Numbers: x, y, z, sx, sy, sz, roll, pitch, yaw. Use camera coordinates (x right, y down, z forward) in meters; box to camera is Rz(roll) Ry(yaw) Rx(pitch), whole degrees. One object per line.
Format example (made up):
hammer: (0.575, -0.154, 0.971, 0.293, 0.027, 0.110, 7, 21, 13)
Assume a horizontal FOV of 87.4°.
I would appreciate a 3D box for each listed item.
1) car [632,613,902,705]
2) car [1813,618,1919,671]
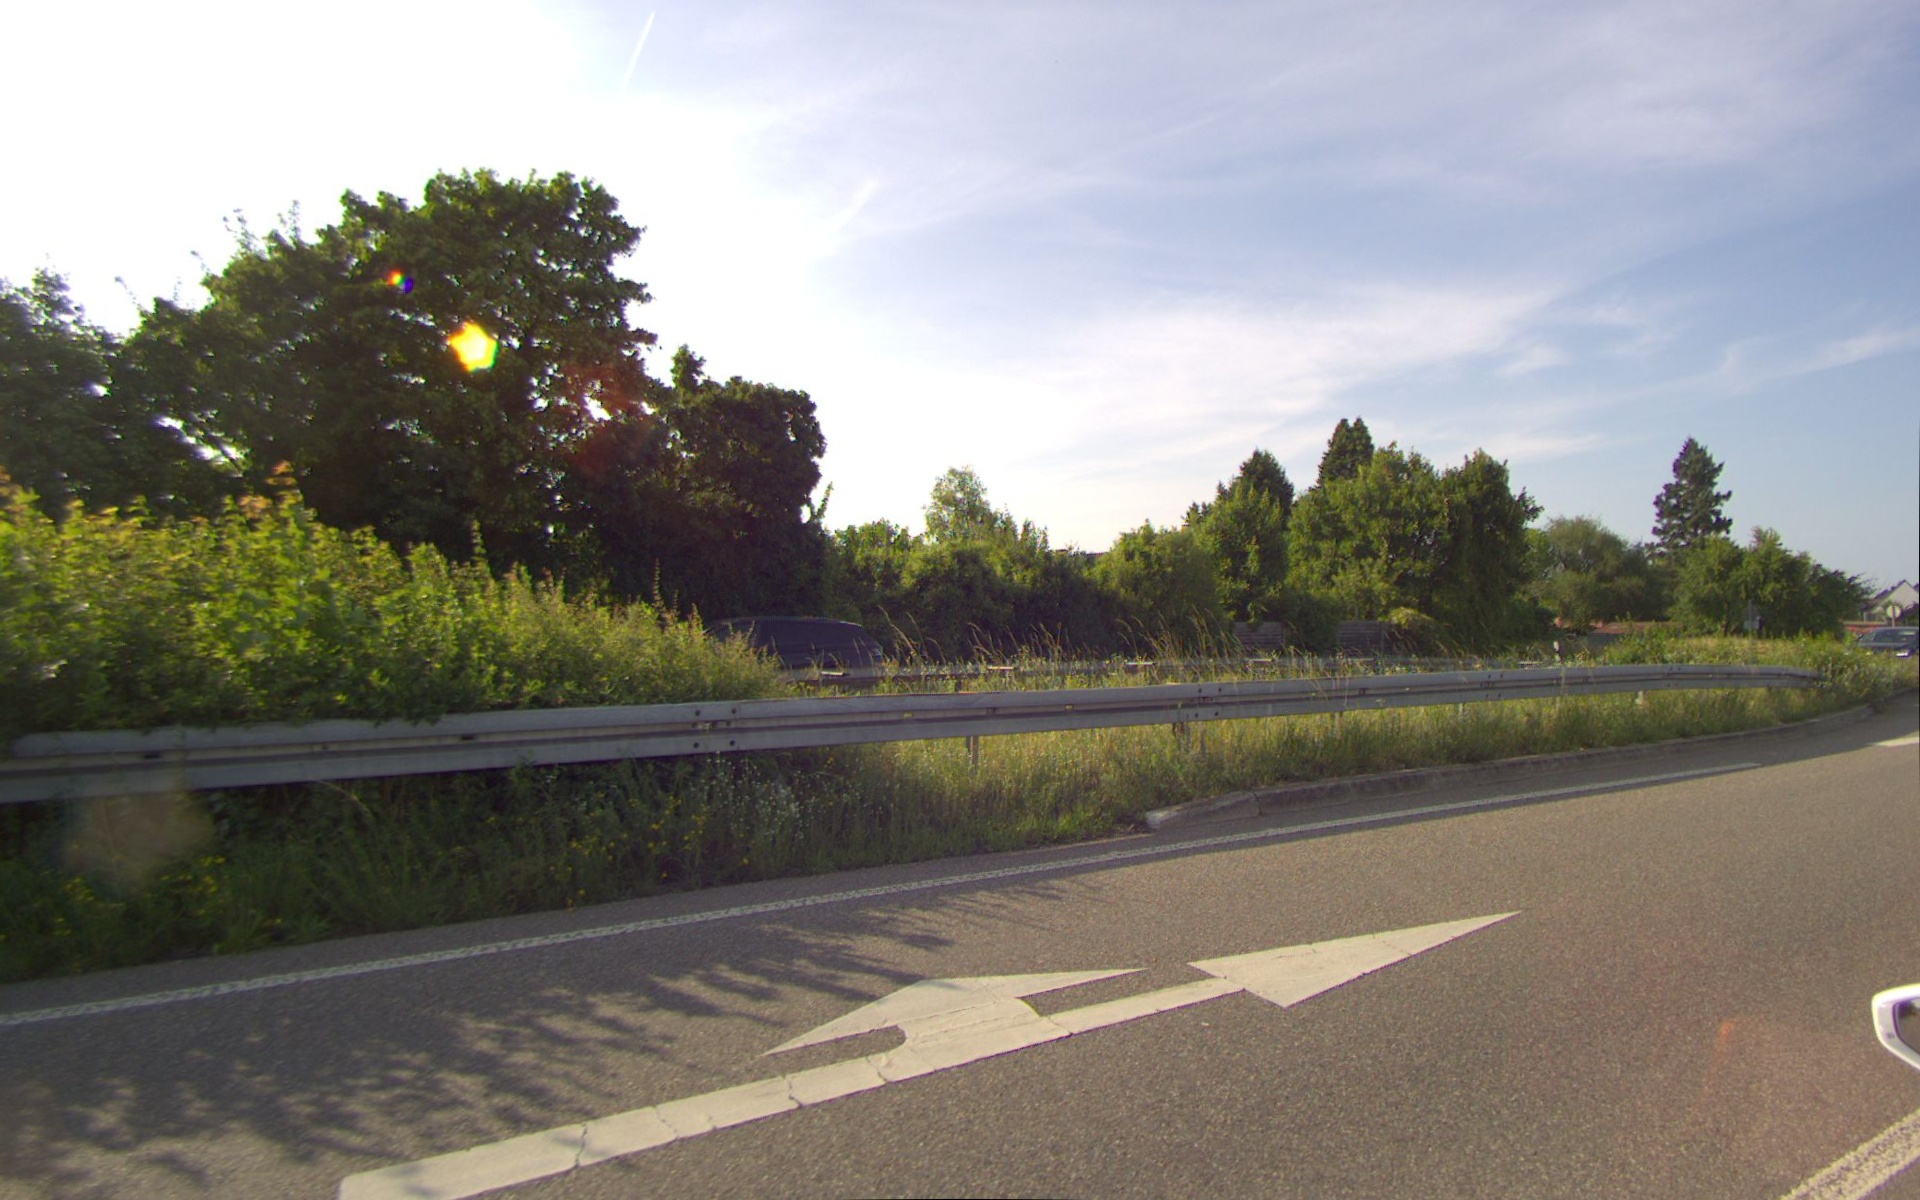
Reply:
car: (-3.139, 0.880, 16.475, 3.954, 1.305, 1.883, 0, 0, -31)
car: (29.088, 1.368, 31.774, 4.178, 1.506, 1.983, 0, 0, -31)
